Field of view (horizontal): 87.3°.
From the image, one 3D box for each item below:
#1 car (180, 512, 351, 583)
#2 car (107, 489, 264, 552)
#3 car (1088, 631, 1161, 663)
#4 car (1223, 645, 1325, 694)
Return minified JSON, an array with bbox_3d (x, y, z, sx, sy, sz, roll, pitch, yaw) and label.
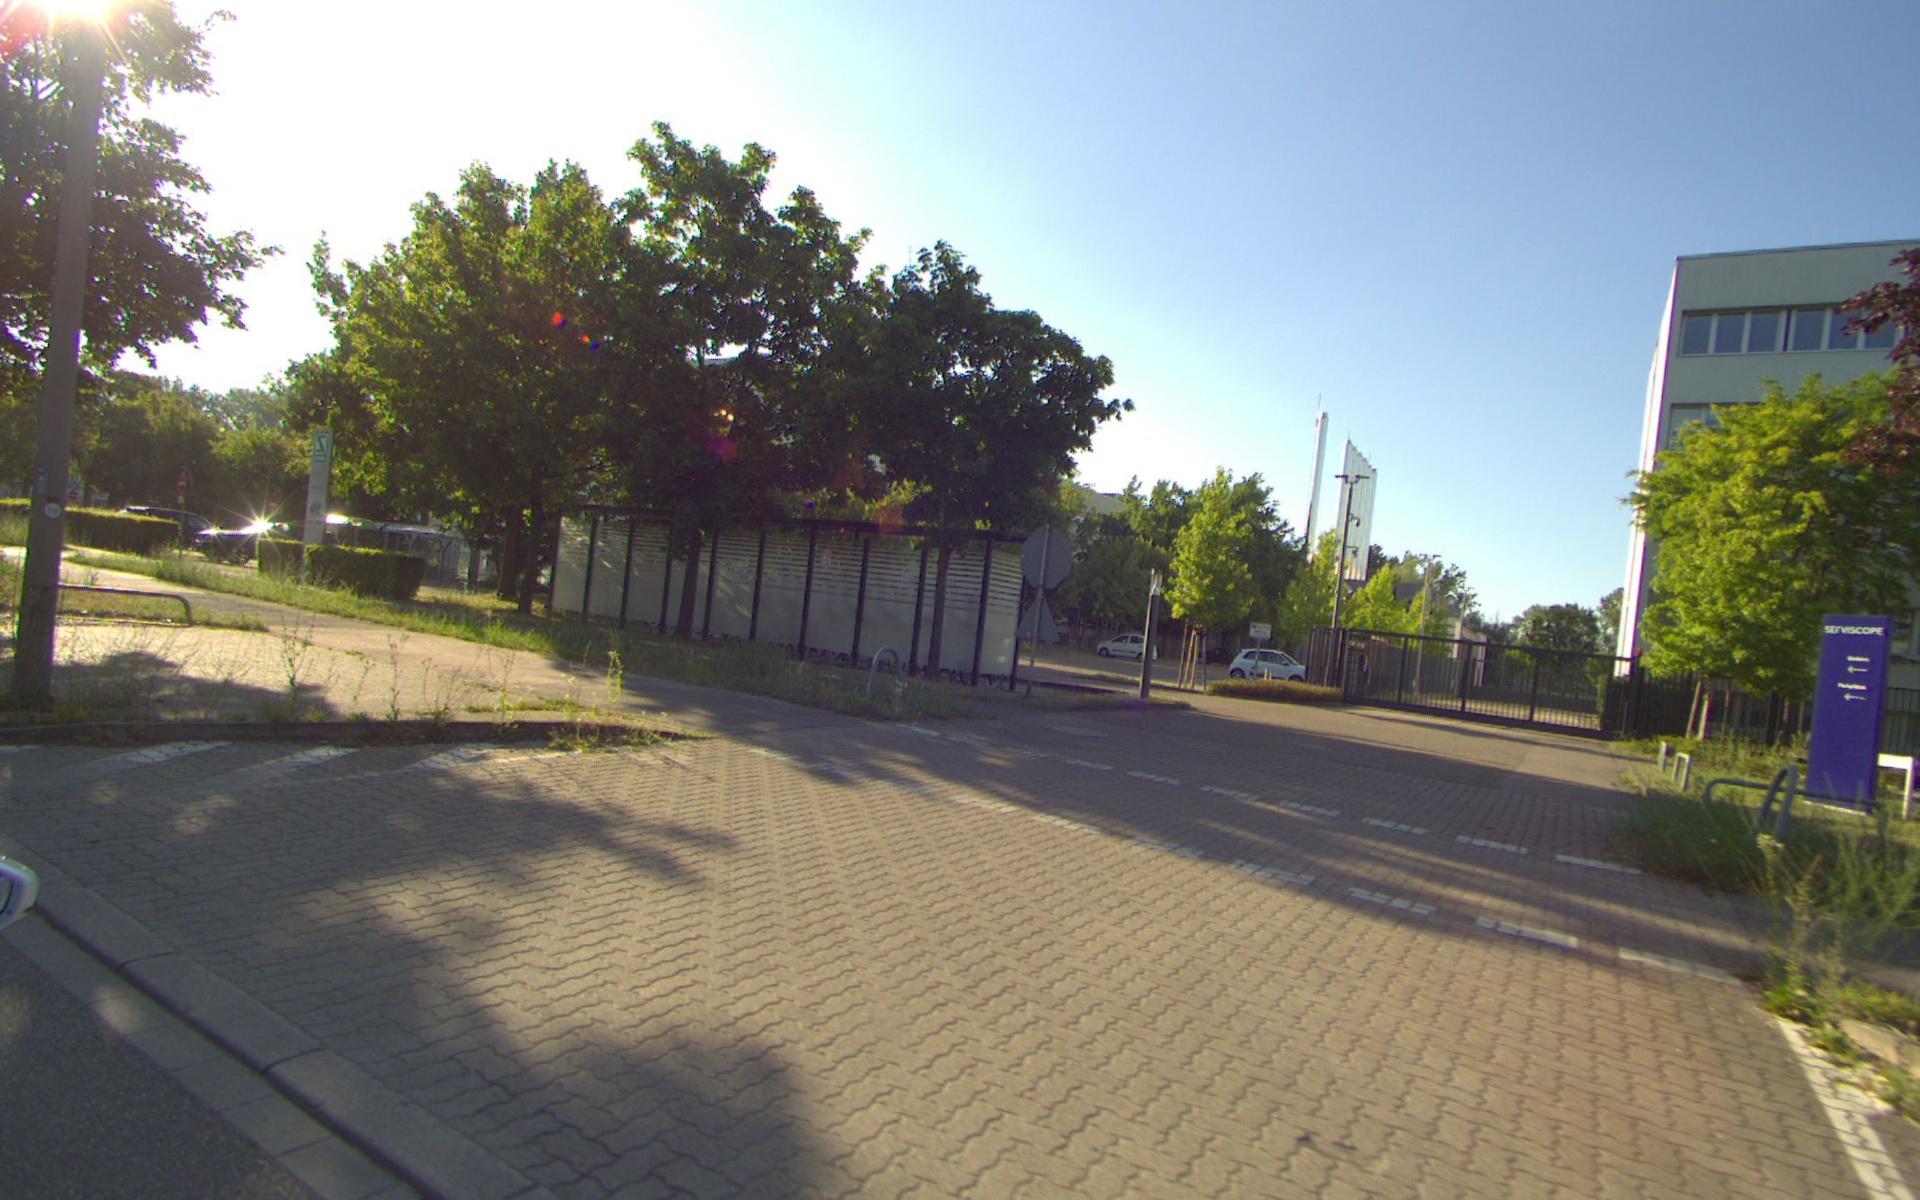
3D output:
[{"bbox_3d":[-24.561,-1.819,35.732,2.025,1.725,4.440,6,-3,31],"label":"car"},{"bbox_3d":[-30.039,-3.062,39.140,1.968,1.726,4.362,7,0,33],"label":"car"},{"bbox_3d":[9.681,2.762,59.215,3.722,1.415,1.867,7,0,31],"label":"car"},{"bbox_3d":[13.474,2.974,43.182,3.763,1.549,1.619,7,0,31],"label":"car"}]
